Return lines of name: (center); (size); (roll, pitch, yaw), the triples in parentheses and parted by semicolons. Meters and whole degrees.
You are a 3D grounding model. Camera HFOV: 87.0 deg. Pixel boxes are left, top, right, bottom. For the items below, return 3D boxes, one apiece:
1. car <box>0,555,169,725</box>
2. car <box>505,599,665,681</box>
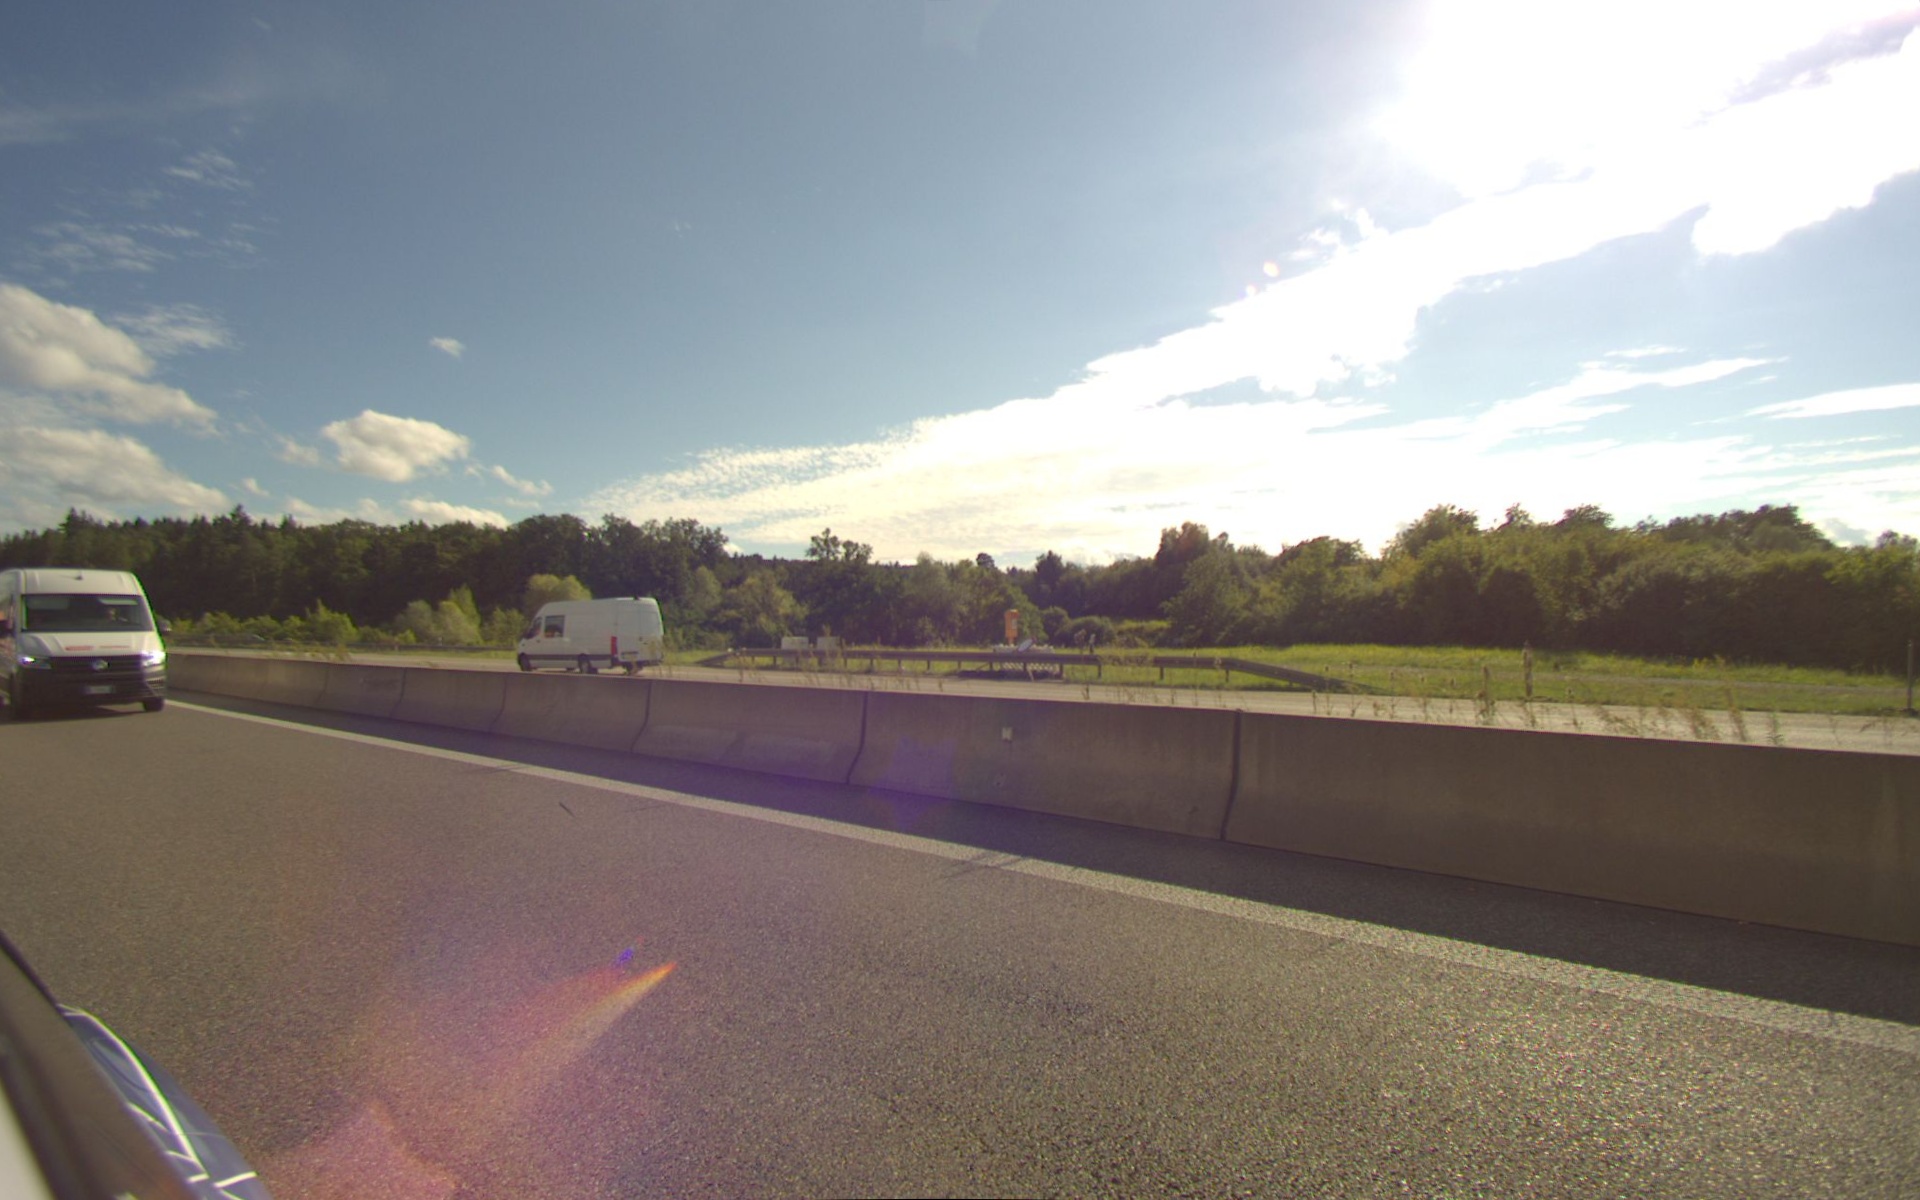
car: (-16.364, 0.724, 18.429); (6.179, 2.619, 1.994); (-3, -2, 42)
car: (-13.337, 1.343, 35.632); (7.317, 2.598, 2.012); (-1, -1, 41)
